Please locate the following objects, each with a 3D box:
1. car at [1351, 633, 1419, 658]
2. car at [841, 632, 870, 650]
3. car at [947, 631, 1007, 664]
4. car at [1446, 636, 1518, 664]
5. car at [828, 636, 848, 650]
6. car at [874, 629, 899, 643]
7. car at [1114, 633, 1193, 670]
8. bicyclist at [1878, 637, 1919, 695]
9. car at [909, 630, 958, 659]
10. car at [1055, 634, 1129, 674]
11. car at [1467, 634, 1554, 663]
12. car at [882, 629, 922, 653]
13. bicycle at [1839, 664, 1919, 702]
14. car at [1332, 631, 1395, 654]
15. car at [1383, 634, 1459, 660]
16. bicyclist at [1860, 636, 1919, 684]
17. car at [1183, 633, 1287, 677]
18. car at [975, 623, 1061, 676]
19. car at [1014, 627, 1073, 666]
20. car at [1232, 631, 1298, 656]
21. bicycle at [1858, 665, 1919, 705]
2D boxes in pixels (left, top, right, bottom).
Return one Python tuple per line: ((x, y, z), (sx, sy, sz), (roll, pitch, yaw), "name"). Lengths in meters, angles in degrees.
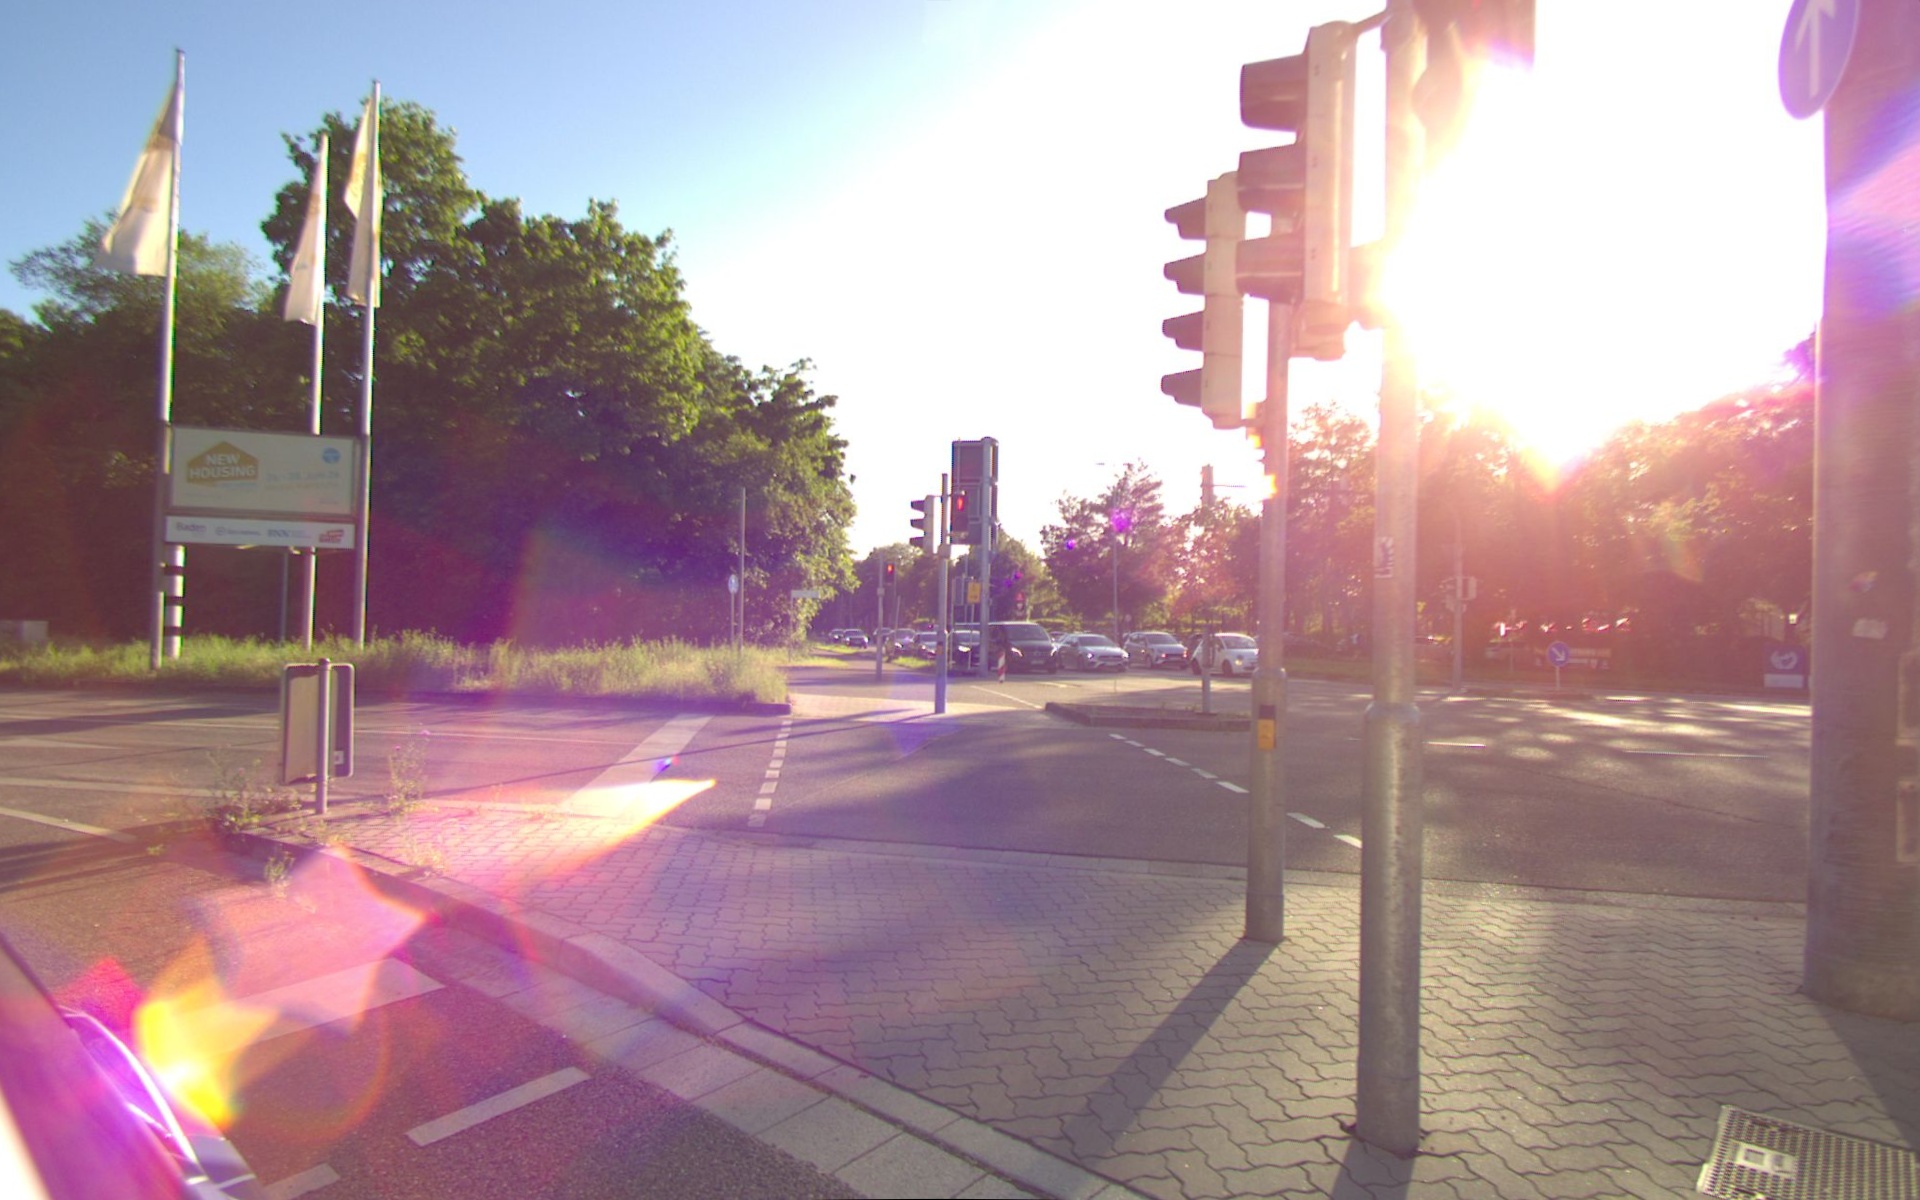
((29.158, 3.118, 69.505), (3.916, 1.612, 1.813), (1, -1, 0), "car")
((-8.555, 3.332, 82.652), (1.823, 1.400, 3.809), (1, -2, -12), "car")
((0.727, 2.137, 46.020), (1.823, 1.400, 3.809), (1, -2, -12), "car")
((31.653, 3.004, 61.430), (3.445, 1.612, 1.817), (1, -1, -9), "car")
((-13.332, 4.687, 110.665), (1.823, 1.400, 3.809), (1, -2, -12), "car")
((-7.843, 3.786, 107.226), (1.743, 1.464, 4.012), (1, -2, -18), "car")
((7.903, 2.101, 41.655), (1.823, 1.400, 3.809), (1, -2, -12), "car")
((23.623, 1.625, 25.130), (0.981, 1.400, 0.709), (0, -2, 16), "bicyclist")
((-1.420, 2.274, 52.208), (1.823, 1.400, 3.809), (1, -2, -12), "car")
((4.999, 2.035, 38.785), (1.620, 1.400, 3.809), (1, -2, -12), "car")
((31.856, 2.810, 58.606), (4.129, 1.612, 1.817), (1, -1, -9), "car")
((-3.567, 2.492, 61.621), (1.823, 1.400, 3.809), (1, -2, -12), "car")
((23.923, 2.130, 25.970), (1.894, 0.921, 0.713), (0, -2, 17), "bicycle")
((29.636, 3.143, 74.370), (3.916, 1.612, 1.813), (1, -1, 0), "car")
((30.175, 3.098, 66.322), (4.093, 1.612, 1.813), (1, -1, 0), "car")
((23.932, 1.533, 25.989), (0.981, 1.201, 0.713), (0, -2, 16), "bicyclist")
((9.428, 1.875, 35.009), (1.896, 1.400, 3.809), (1, -2, -12), "car")
((2.089, 1.781, 37.794), (1.896, 1.844, 4.946), (1, -2, -13), "car")
((3.745, 2.094, 45.998), (1.620, 1.638, 4.009), (1, -1, -12), "car")
((21.125, 3.023, 70.288), (3.941, 1.631, 1.944), (1, -2, -3), "car")
((23.649, 2.111, 25.102), (1.894, 0.921, 0.713), (0, -2, 17), "bicycle")
